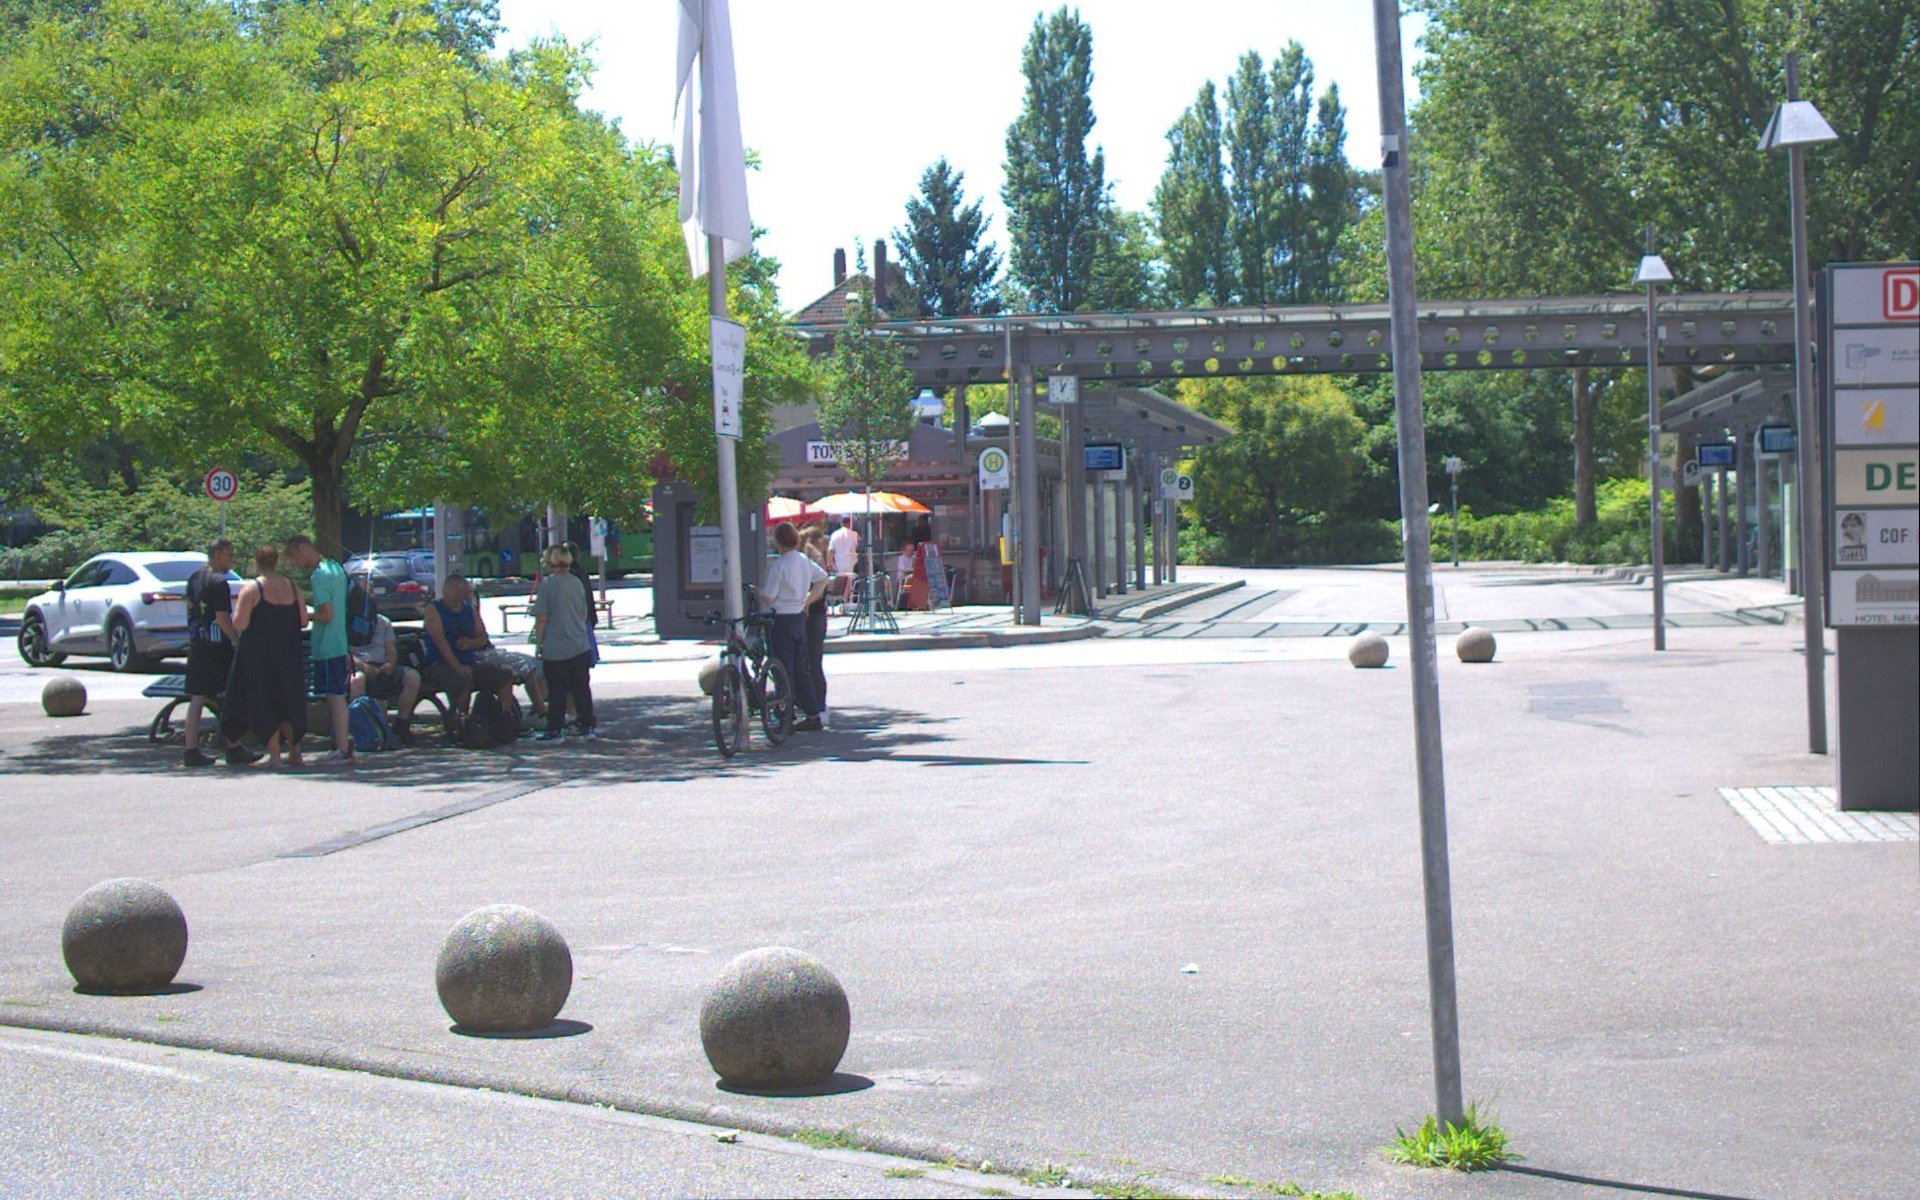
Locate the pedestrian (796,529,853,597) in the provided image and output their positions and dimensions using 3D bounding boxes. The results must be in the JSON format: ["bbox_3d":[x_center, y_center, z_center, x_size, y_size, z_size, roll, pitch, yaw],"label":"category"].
[{"bbox_3d":[-2.654,-0.727,67.493,0.892,1.308,0.688,-2,1,-27],"label":"pedestrian"}]

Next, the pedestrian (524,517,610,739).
[{"bbox_3d":[-3.135,0.216,27.386,0.510,1.734,0.571,-2,1,-21],"label":"pedestrian"}]

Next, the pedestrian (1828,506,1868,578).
[{"bbox_3d":[17.427,-1.133,67.468,0.625,1.390,0.676,-3,0,8],"label":"pedestrian"}]

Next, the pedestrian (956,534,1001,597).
[{"bbox_3d":[0.354,-0.671,66.441,0.759,1.201,0.737,1,1,8],"label":"pedestrian"}]

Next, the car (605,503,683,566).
[{"bbox_3d":[-11.308,-2.340,122.636,2.202,2.165,4.883,-2,1,-12],"label":"car"}]

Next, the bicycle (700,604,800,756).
[{"bbox_3d":[-1.571,0.582,25.955,0.420,1.056,1.948,-1,1,6],"label":"bicycle"}]

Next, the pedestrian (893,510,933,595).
[{"bbox_3d":[-0.967,-0.971,70.634,0.686,1.732,0.707,-1,1,8],"label":"pedestrian"}]

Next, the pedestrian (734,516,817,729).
[{"bbox_3d":[-1.483,0.172,27.634,0.617,1.679,0.591,-1,1,-4],"label":"pedestrian"}]

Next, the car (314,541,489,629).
[{"bbox_3d":[-10.460,-0.312,64.732,1.927,1.455,4.724,-4,1,7],"label":"car"}]

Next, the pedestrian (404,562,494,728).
[{"bbox_3d":[-4.296,0.368,28.899,0.597,1.359,0.600,-2,2,-20],"label":"pedestrian"}]

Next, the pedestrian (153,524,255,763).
[{"bbox_3d":[-5.676,0.318,25.817,0.691,1.757,0.585,-1,1,-12],"label":"pedestrian"}]

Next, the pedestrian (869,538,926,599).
[{"bbox_3d":[-1.218,-0.619,67.188,0.892,1.157,0.688,-2,1,-27],"label":"pedestrian"}]

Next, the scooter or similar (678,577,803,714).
[{"bbox_3d":[-1.869,0.384,29.319,1.025,1.135,0.294,-1,1,1],"label":"scooter or similar"}]

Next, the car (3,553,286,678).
[{"bbox_3d":[-11.511,0.185,48.308,1.983,1.621,4.777,-3,2,-38],"label":"car"}]

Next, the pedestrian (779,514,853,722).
[{"bbox_3d":[-1.189,0.142,28.250,0.553,1.679,0.587,-1,1,-4],"label":"pedestrian"}]

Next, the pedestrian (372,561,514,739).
[{"bbox_3d":[-4.169,0.384,27.679,0.909,1.381,0.944,-2,1,-22],"label":"pedestrian"}]

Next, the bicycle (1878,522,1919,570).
[{"bbox_3d":[20.881,-1.111,72.572,2.787,1.000,0.811,1,1,6],"label":"bicycle"}]

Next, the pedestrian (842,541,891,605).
[{"bbox_3d":[-1.721,-0.501,63.198,0.686,1.157,0.894,-1,1,12],"label":"pedestrian"}]

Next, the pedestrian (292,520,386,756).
[{"bbox_3d":[-4.661,0.276,25.778,0.583,1.734,0.600,-1,1,-17],"label":"pedestrian"}]

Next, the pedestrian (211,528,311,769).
[{"bbox_3d":[-5.139,0.344,25.258,0.625,1.734,0.548,-1,1,-17],"label":"pedestrian"}]
